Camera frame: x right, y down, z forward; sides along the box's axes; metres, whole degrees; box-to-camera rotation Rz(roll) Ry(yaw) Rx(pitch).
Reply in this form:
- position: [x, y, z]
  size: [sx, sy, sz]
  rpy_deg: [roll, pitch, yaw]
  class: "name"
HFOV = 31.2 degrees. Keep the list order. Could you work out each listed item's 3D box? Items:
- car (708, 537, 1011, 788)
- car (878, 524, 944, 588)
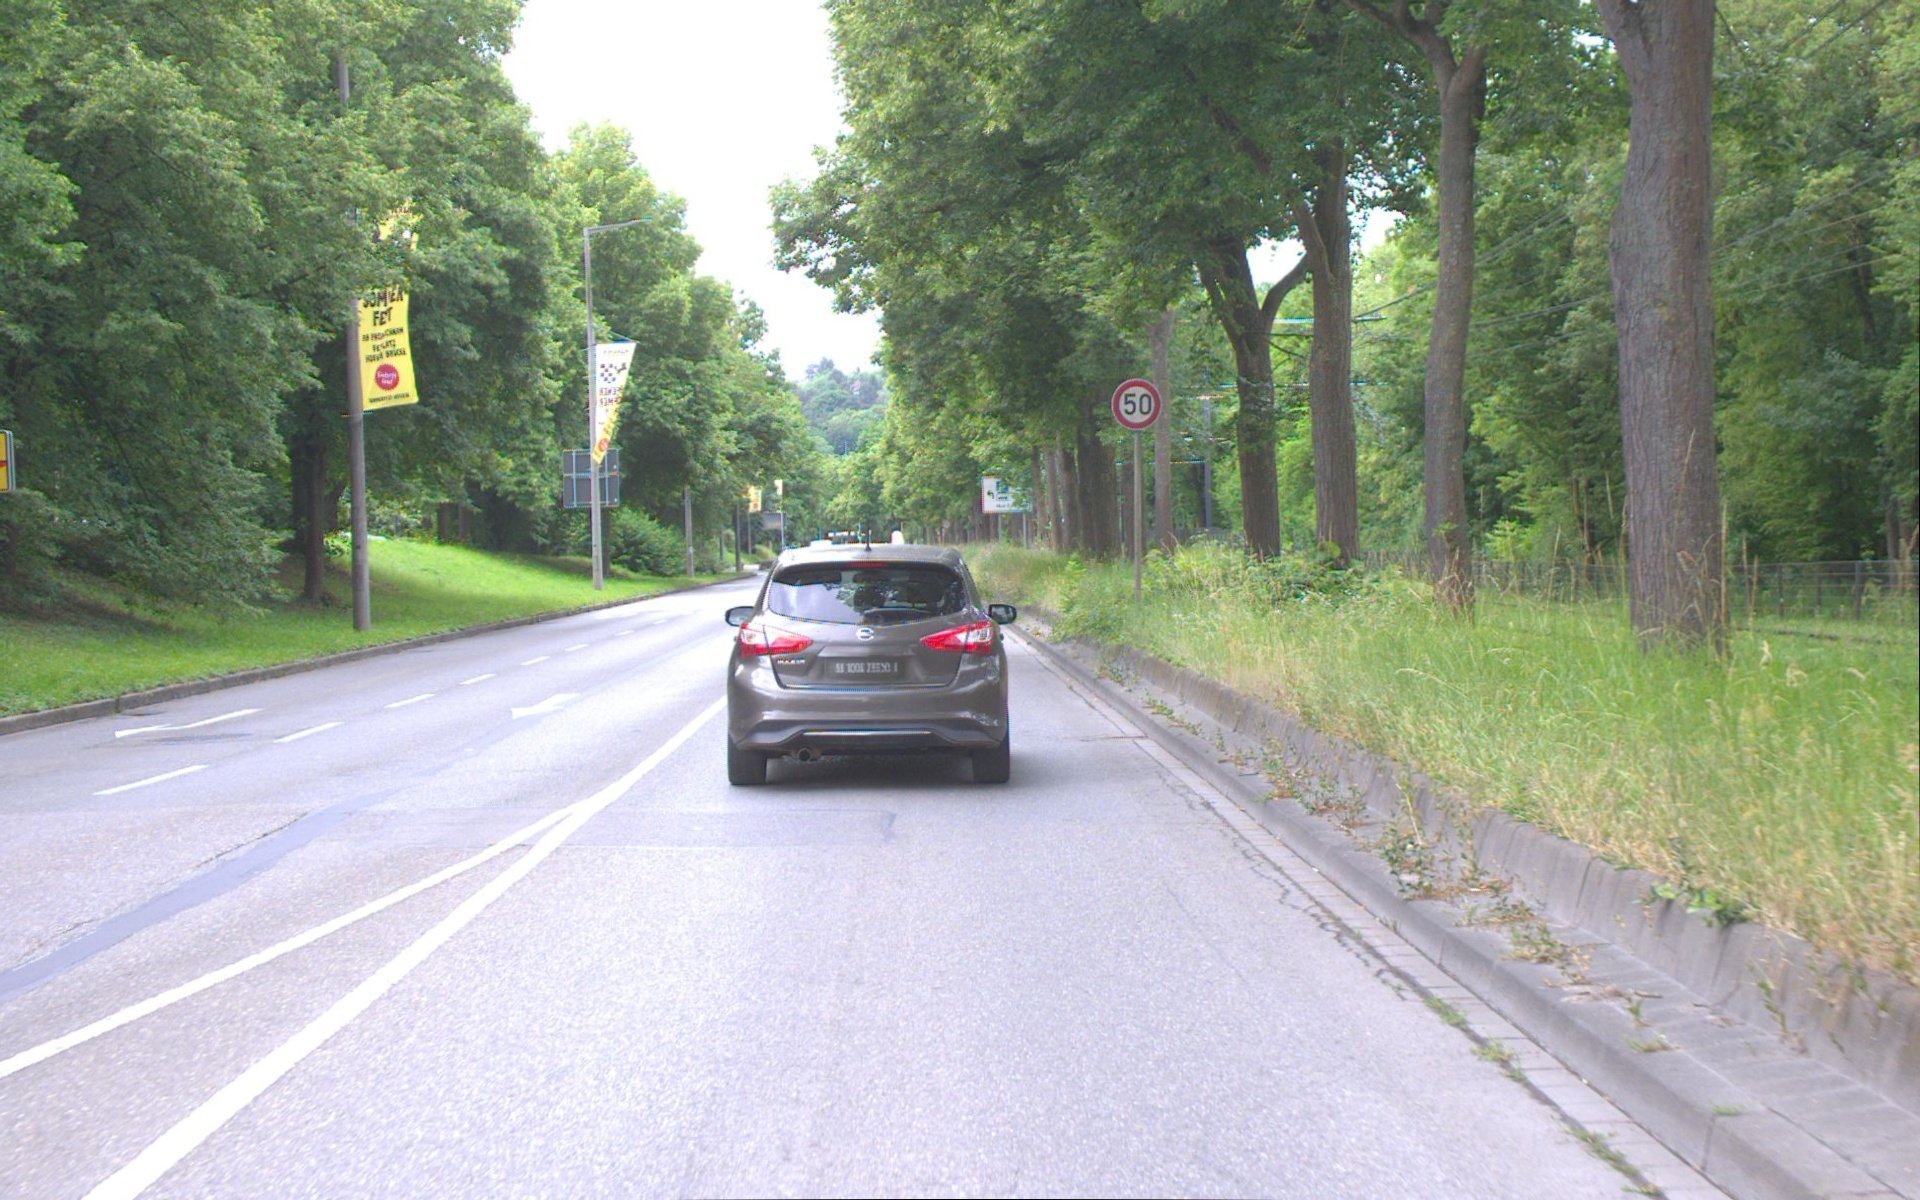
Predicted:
- position: [-0.579, 0.354, 22.772]
  size: [1.837, 1.523, 3.929]
  rpy_deg: [0, 1, 1]
  class: "car"
- position: [-1.186, -1.076, 84.626]
  size: [1.503, 1.523, 3.671]
  rpy_deg: [0, 1, 1]
  class: "car"
